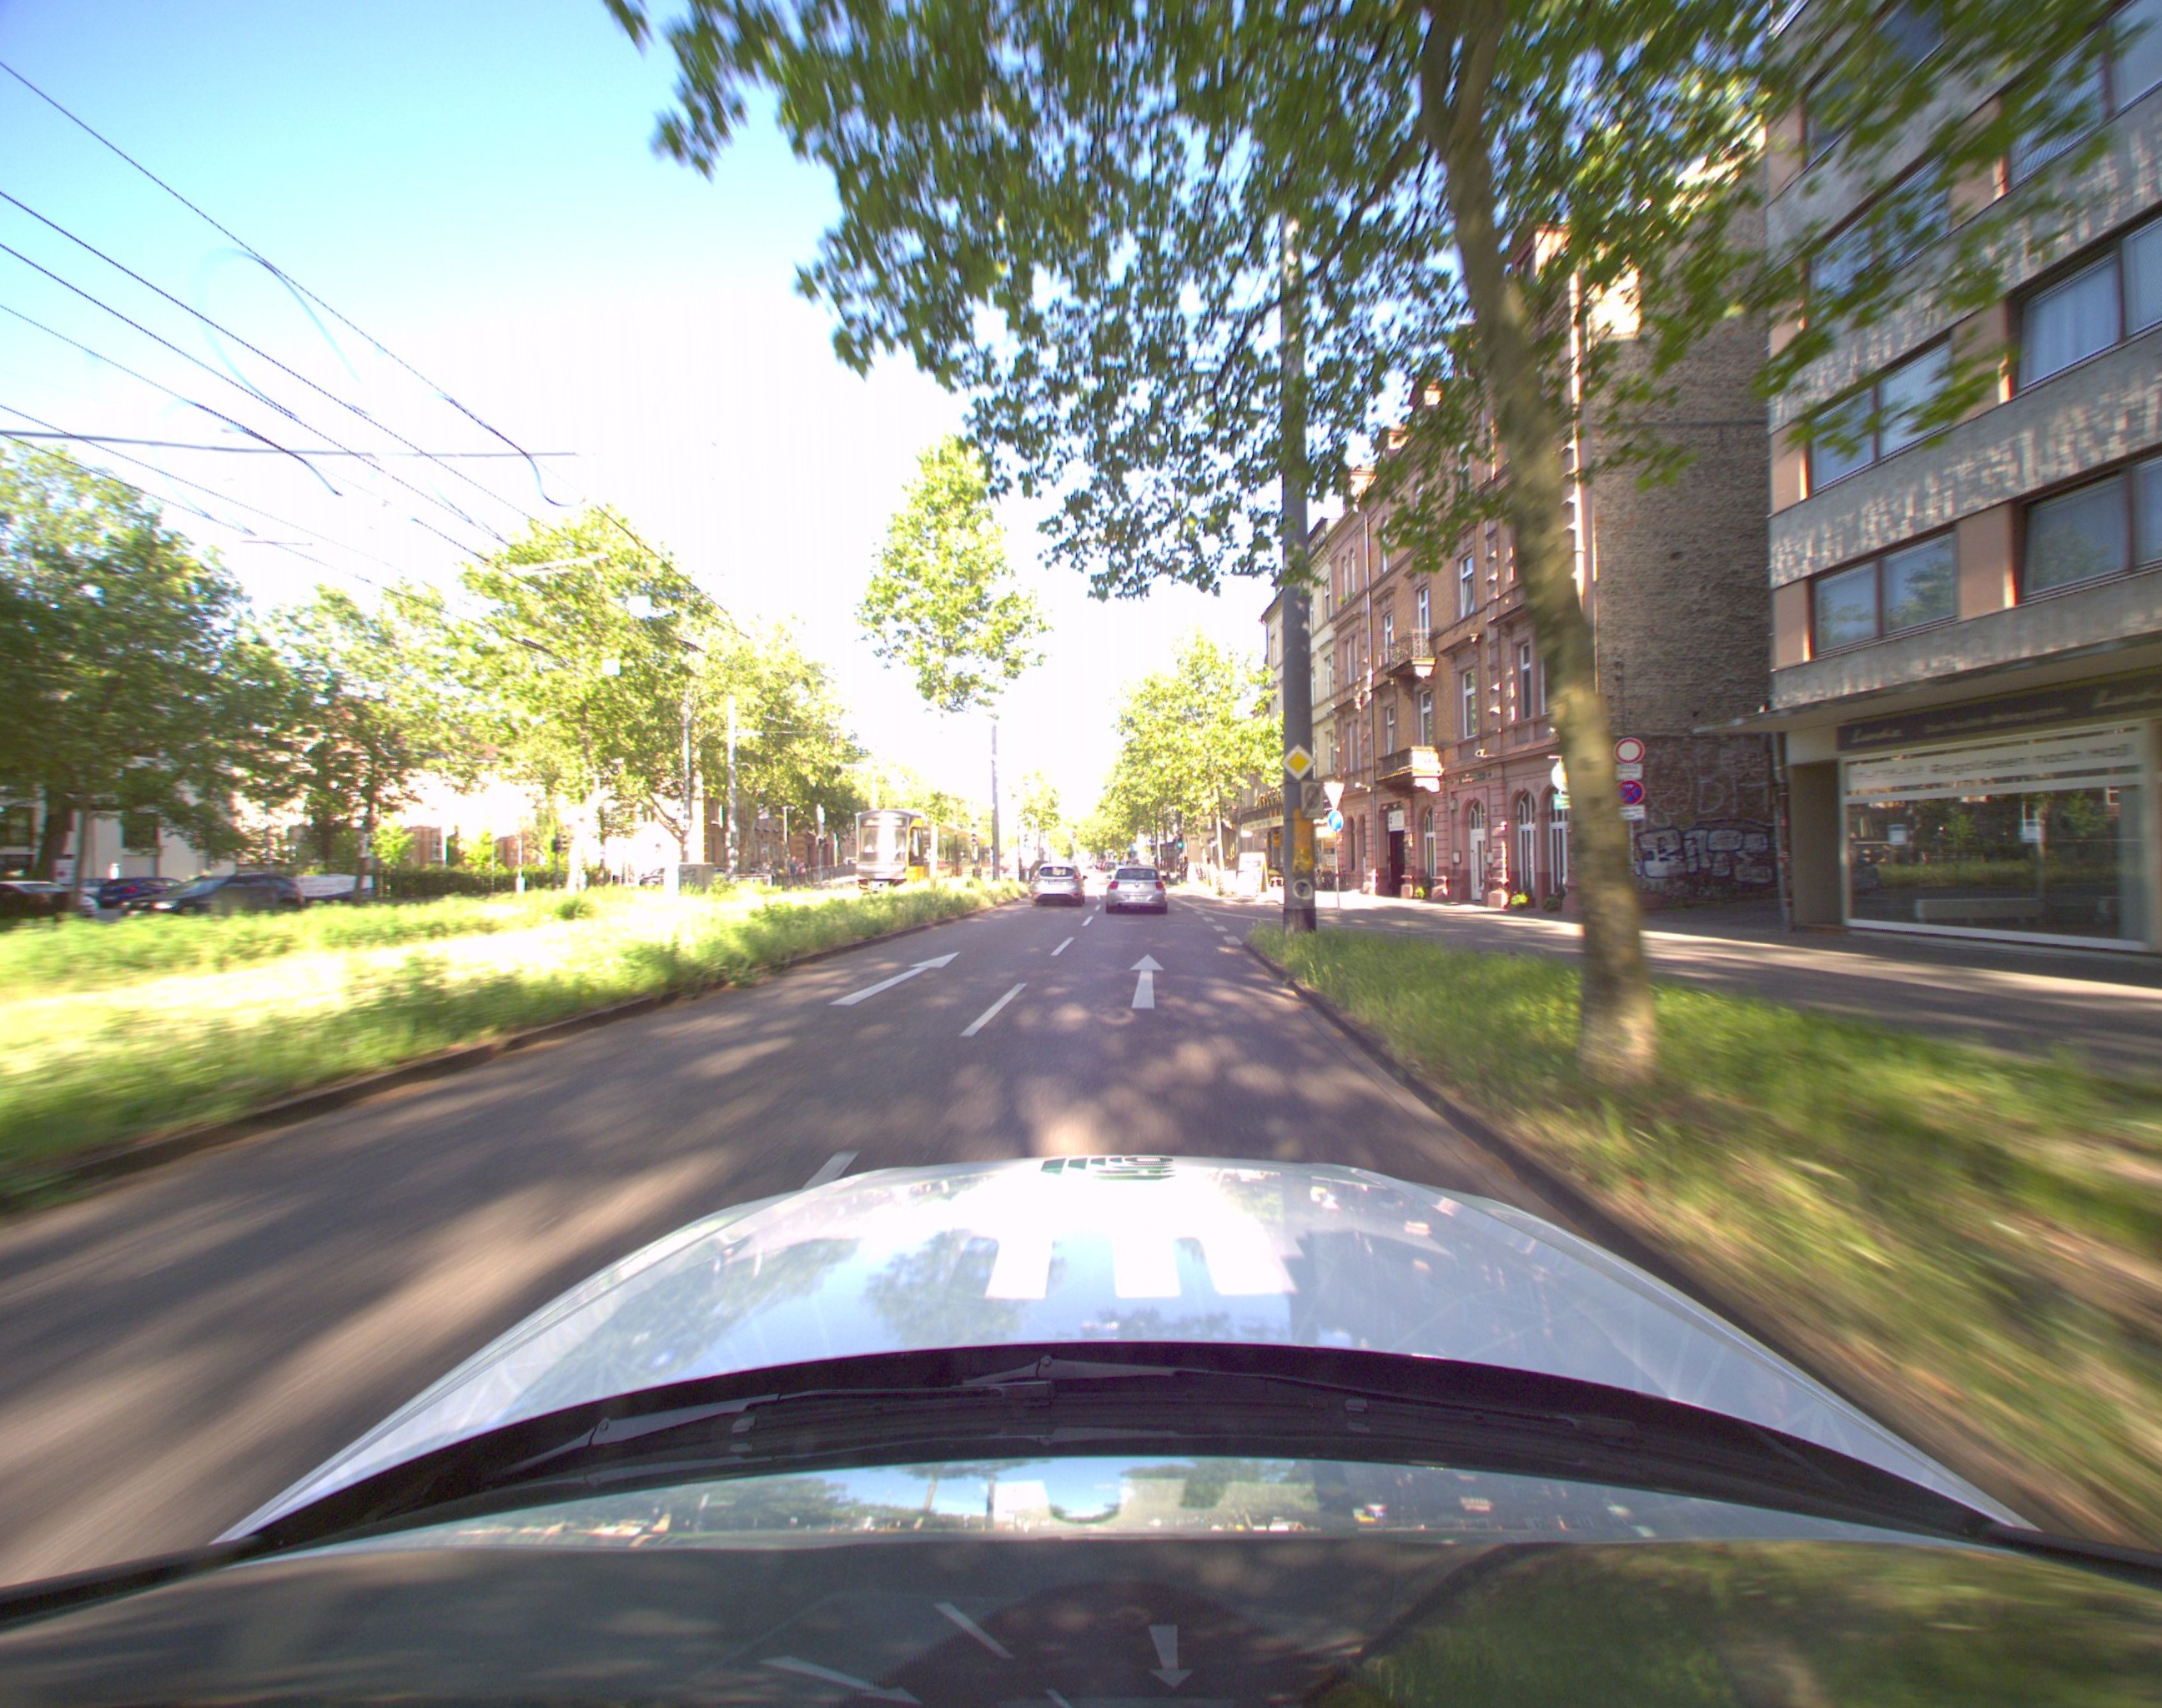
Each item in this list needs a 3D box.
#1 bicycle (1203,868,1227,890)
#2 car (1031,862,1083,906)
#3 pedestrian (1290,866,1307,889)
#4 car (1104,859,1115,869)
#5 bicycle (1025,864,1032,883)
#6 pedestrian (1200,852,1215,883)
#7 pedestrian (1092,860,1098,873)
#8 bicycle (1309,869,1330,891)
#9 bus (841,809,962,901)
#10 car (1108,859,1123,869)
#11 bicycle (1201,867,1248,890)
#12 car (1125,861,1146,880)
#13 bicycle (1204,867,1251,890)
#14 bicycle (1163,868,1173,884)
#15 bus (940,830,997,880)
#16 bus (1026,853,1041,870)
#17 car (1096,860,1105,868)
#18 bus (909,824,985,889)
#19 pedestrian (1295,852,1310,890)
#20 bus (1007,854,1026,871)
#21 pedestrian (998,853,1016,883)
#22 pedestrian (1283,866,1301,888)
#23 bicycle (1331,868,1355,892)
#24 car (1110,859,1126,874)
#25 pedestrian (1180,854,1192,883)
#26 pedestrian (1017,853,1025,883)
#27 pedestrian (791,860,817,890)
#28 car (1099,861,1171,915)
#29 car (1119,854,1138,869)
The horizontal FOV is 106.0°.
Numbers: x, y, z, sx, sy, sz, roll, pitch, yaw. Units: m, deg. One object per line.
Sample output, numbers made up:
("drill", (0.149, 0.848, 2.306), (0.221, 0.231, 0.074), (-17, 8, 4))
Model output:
("bicycle", (6.522, 1.209, 39.729), (0.443, 0.993, 1.679), (1, 0, -16))
("car", (-0.808, 0.997, 28.238), (1.642, 1.363, 3.758), (1, 0, -1))
("pedestrian", (11.363, 1.236, 42.518), (0.646, 1.161, 0.608), (1, 0, -13))
("car", (4.613, 1.659, 132.880), (1.664, 1.551, 3.998), (1, 0, -1))
("bicycle", (-3.436, 1.259, 52.911), (0.328, 1.214, 1.824), (-1, -1, -7))
("pedestrian", (8.421, 0.869, 54.173), (0.878, 2.013, 0.857), (1, 0, 2))
("pedestrian", (2.129, 1.891, 127.395), (0.834, 2.013, 0.649), (1, 0, 5))
("bicycle", (11.313, 1.211, 38.629), (0.441, 0.993, 1.687), (1, 0, -2))
("bus", (-7.745, 0.087, 37.403), (2.861, 3.444, 13.209), (-1, -1, -1))
("car", (5.390, 1.650, 127.777), (1.988, 1.509, 4.594), (1, -1, -1))
("bicycle", (6.419, 1.094, 36.510), (2.010, 0.993, 0.443), (1, 0, -4))
("car", (5.702, 1.703, 86.043), (1.750, 1.965, 4.734), (0, 0, -2))
("bicycle", (6.478, 1.092, 35.977), (1.999, 0.993, 0.443), (1, 0, -4))
("bicycle", (5.761, 1.455, 53.921), (0.426, 0.970, 1.749), (1, 0, -1))
("bus", (-8.383, 0.140, 62.168), (2.861, 3.444, 11.604), (-1, -1, -1))
("bus", (-11.016, 1.687, 189.550), (2.742, 3.626, 18.837), (-1, 0, -1))
("car", (4.221, 2.162, 175.444), (1.696, 1.534, 3.714), (1, 0, -1))
("bus", (-7.976, 0.190, 50.173), (2.861, 3.444, 12.207), (-1, -1, -1))
("pedestrian", (10.586, 0.809, 38.918), (0.463, 1.810, 0.779), (1, 0, 30))
("bus", (-15.170, 1.899, 192.399), (2.861, 3.628, 24.590), (-1, 0, -1))
("pedestrian", (-4.804, 0.901, 52.742), (1.070, 1.916, 1.125), (-1, -1, -4))
("pedestrian", (11.190, 1.234, 43.160), (0.775, 1.161, 0.465), (1, 0, -27))
("bicycle", (11.462, 1.139, 35.731), (0.441, 0.993, 1.687), (1, 0, -2))
("car", (4.561, 1.541, 101.580), (1.687, 1.658, 4.036), (-1, 0, -2))
("pedestrian", (6.437, 0.897, 49.922), (0.639, 1.771, 0.870), (1, 0, 4))
("pedestrian", (-3.930, 0.912, 53.069), (0.450, 1.903, 0.583), (-1, -1, -9))
("pedestrian", (-15.292, 1.155, 44.993), (1.176, 1.643, 0.890), (-1, -1, -9))
("car", (1.561, 0.958, 24.725), (1.758, 1.432, 3.997), (1, 0, -2))
("car", (5.345, 0.869, 92.362), (1.793, 1.700, 4.734), (-1, -1, -1))
